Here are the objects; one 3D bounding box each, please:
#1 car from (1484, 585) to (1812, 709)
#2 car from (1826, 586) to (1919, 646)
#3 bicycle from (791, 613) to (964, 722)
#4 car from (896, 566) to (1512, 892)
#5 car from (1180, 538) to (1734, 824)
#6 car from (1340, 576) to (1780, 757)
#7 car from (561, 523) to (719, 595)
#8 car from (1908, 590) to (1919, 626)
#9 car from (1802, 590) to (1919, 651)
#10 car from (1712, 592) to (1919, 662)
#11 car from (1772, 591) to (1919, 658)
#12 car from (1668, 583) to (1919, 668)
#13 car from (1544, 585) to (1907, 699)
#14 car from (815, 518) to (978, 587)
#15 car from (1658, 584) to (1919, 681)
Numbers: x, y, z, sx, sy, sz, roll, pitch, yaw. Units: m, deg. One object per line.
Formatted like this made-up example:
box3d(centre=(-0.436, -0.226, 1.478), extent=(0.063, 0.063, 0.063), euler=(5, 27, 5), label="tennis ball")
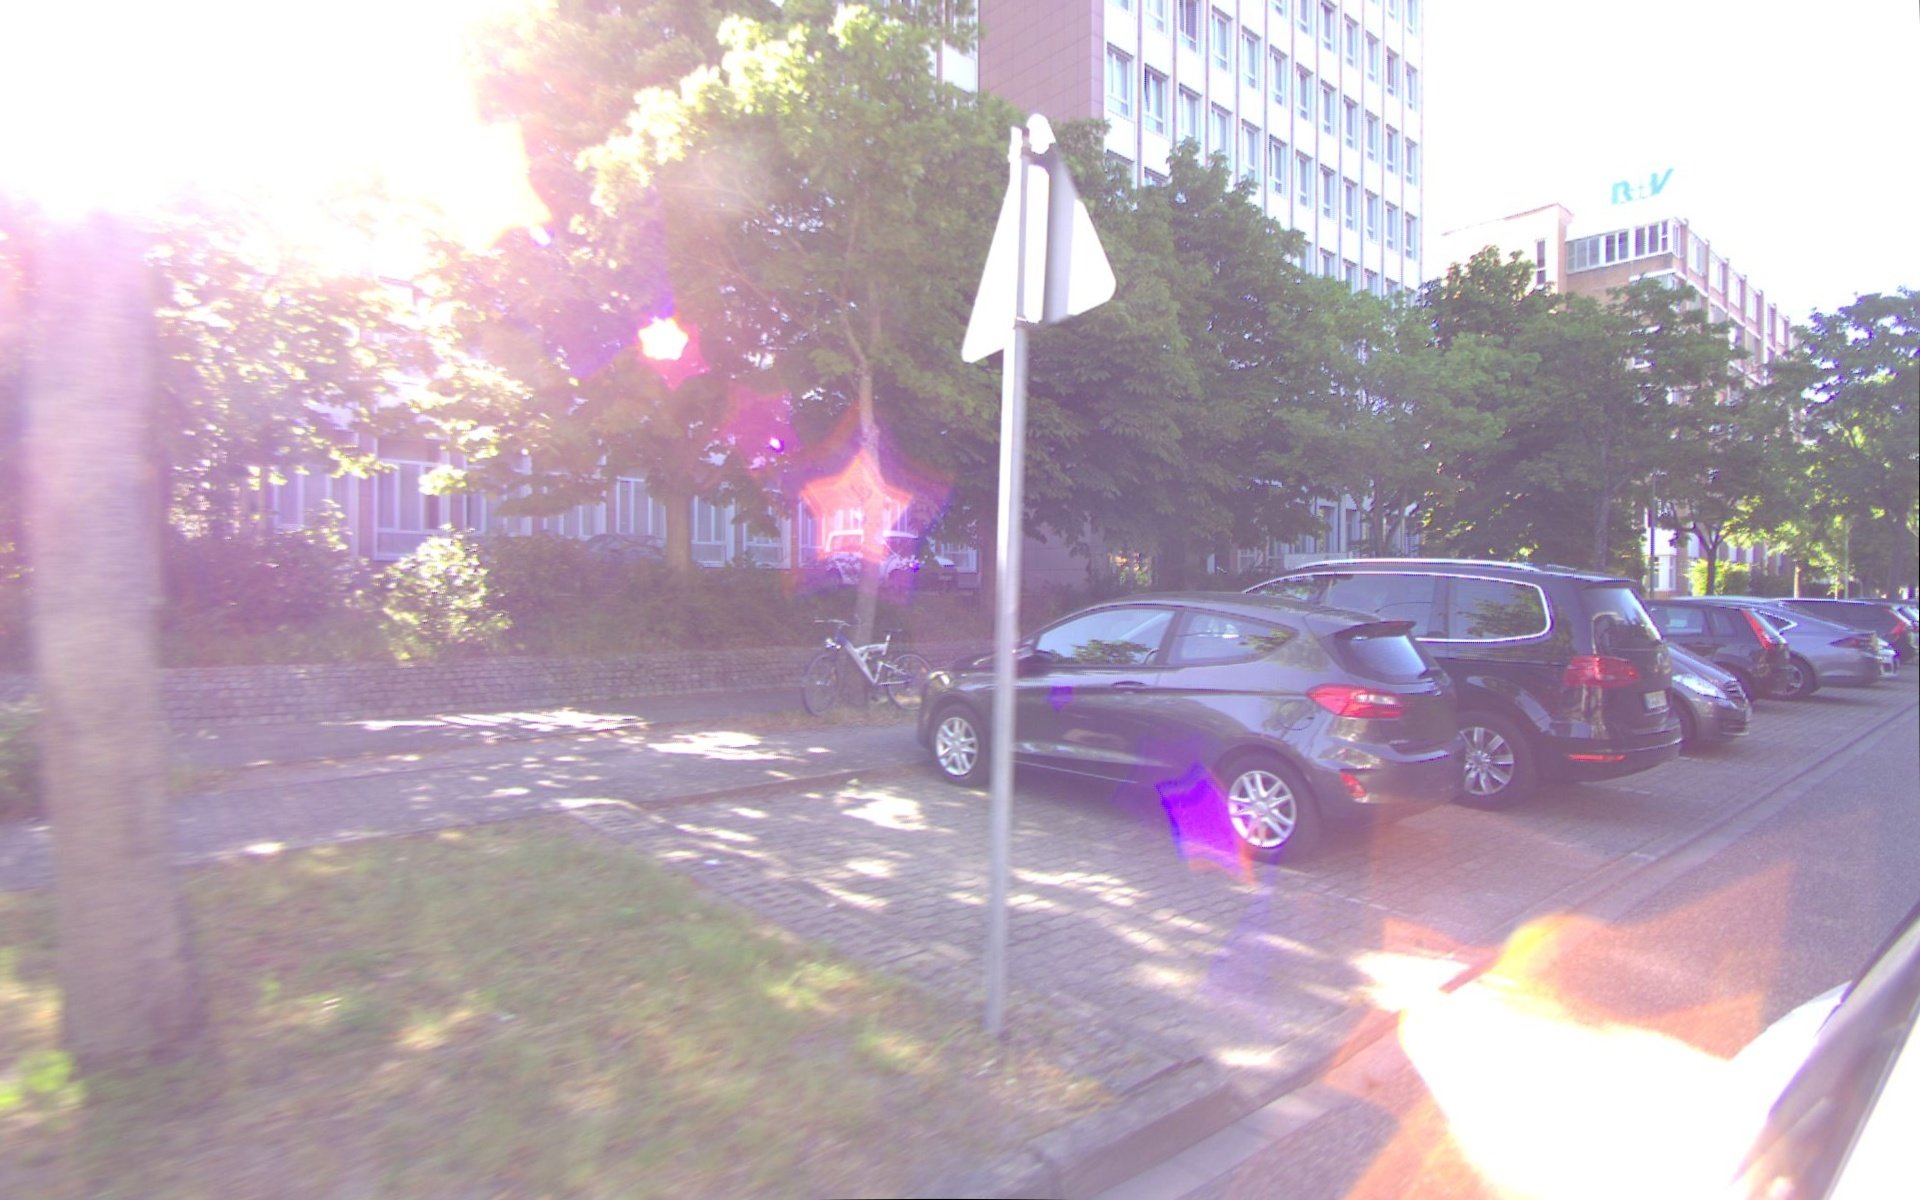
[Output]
box3d(centre=(9.990, 0.577, 14.866), extent=(1.696, 1.499, 3.714), euler=(-1, 2, -44), label="car")
box3d(centre=(27.104, 0.453, 29.123), extent=(1.575, 1.624, 3.054), euler=(0, 2, -38), label="car")
box3d(centre=(-0.817, 0.662, 10.474), extent=(1.921, 1.006, 0.303), euler=(-1, 0, -37), label="bicycle")
box3d(centre=(1.415, 0.613, 6.965), extent=(1.565, 1.464, 3.840), euler=(2, 2, -43), label="car")
box3d(centre=(3.793, 0.433, 8.258), extent=(1.693, 1.772, 3.683), euler=(0, 2, -37), label="car")
box3d(centre=(6.469, 0.557, 11.181), extent=(3.872, 1.584, 1.780), euler=(3, 2, 45), label="car")
box3d(centre=(-7.485, -0.899, 23.468), extent=(4.224, 1.525, 1.697), euler=(1, 1, 44), label="car")
box3d(centre=(49.000, 0.389, 49.204), extent=(1.966, 1.727, 4.157), euler=(-1, 0, -43), label="car")
box3d(centre=(24.676, 0.528, 27.115), extent=(1.470, 1.477, 2.998), euler=(0, 3, -38), label="car")
box3d(centre=(20.462, 0.579, 24.175), extent=(1.629, 1.471, 3.750), euler=(0, 2, -42), label="car")
box3d(centre=(22.690, 0.573, 25.477), extent=(1.559, 1.497, 3.205), euler=(0, 2, -37), label="car")
box3d(centre=(17.012, 0.439, 20.679), extent=(1.656, 1.569, 3.974), euler=(0, 1, -44), label="car")
box3d(centre=(12.155, 0.567, 16.308), extent=(1.828, 1.573, 4.426), euler=(0, 0, -42), label="car")
box3d(centre=(-1.815, -1.216, 27.683), extent=(1.845, 1.707, 4.718), euler=(0, 0, -45), label="car")
box3d(centre=(15.273, 0.506, 18.726), extent=(1.695, 1.525, 3.578), euler=(-1, 2, -42), label="car")
